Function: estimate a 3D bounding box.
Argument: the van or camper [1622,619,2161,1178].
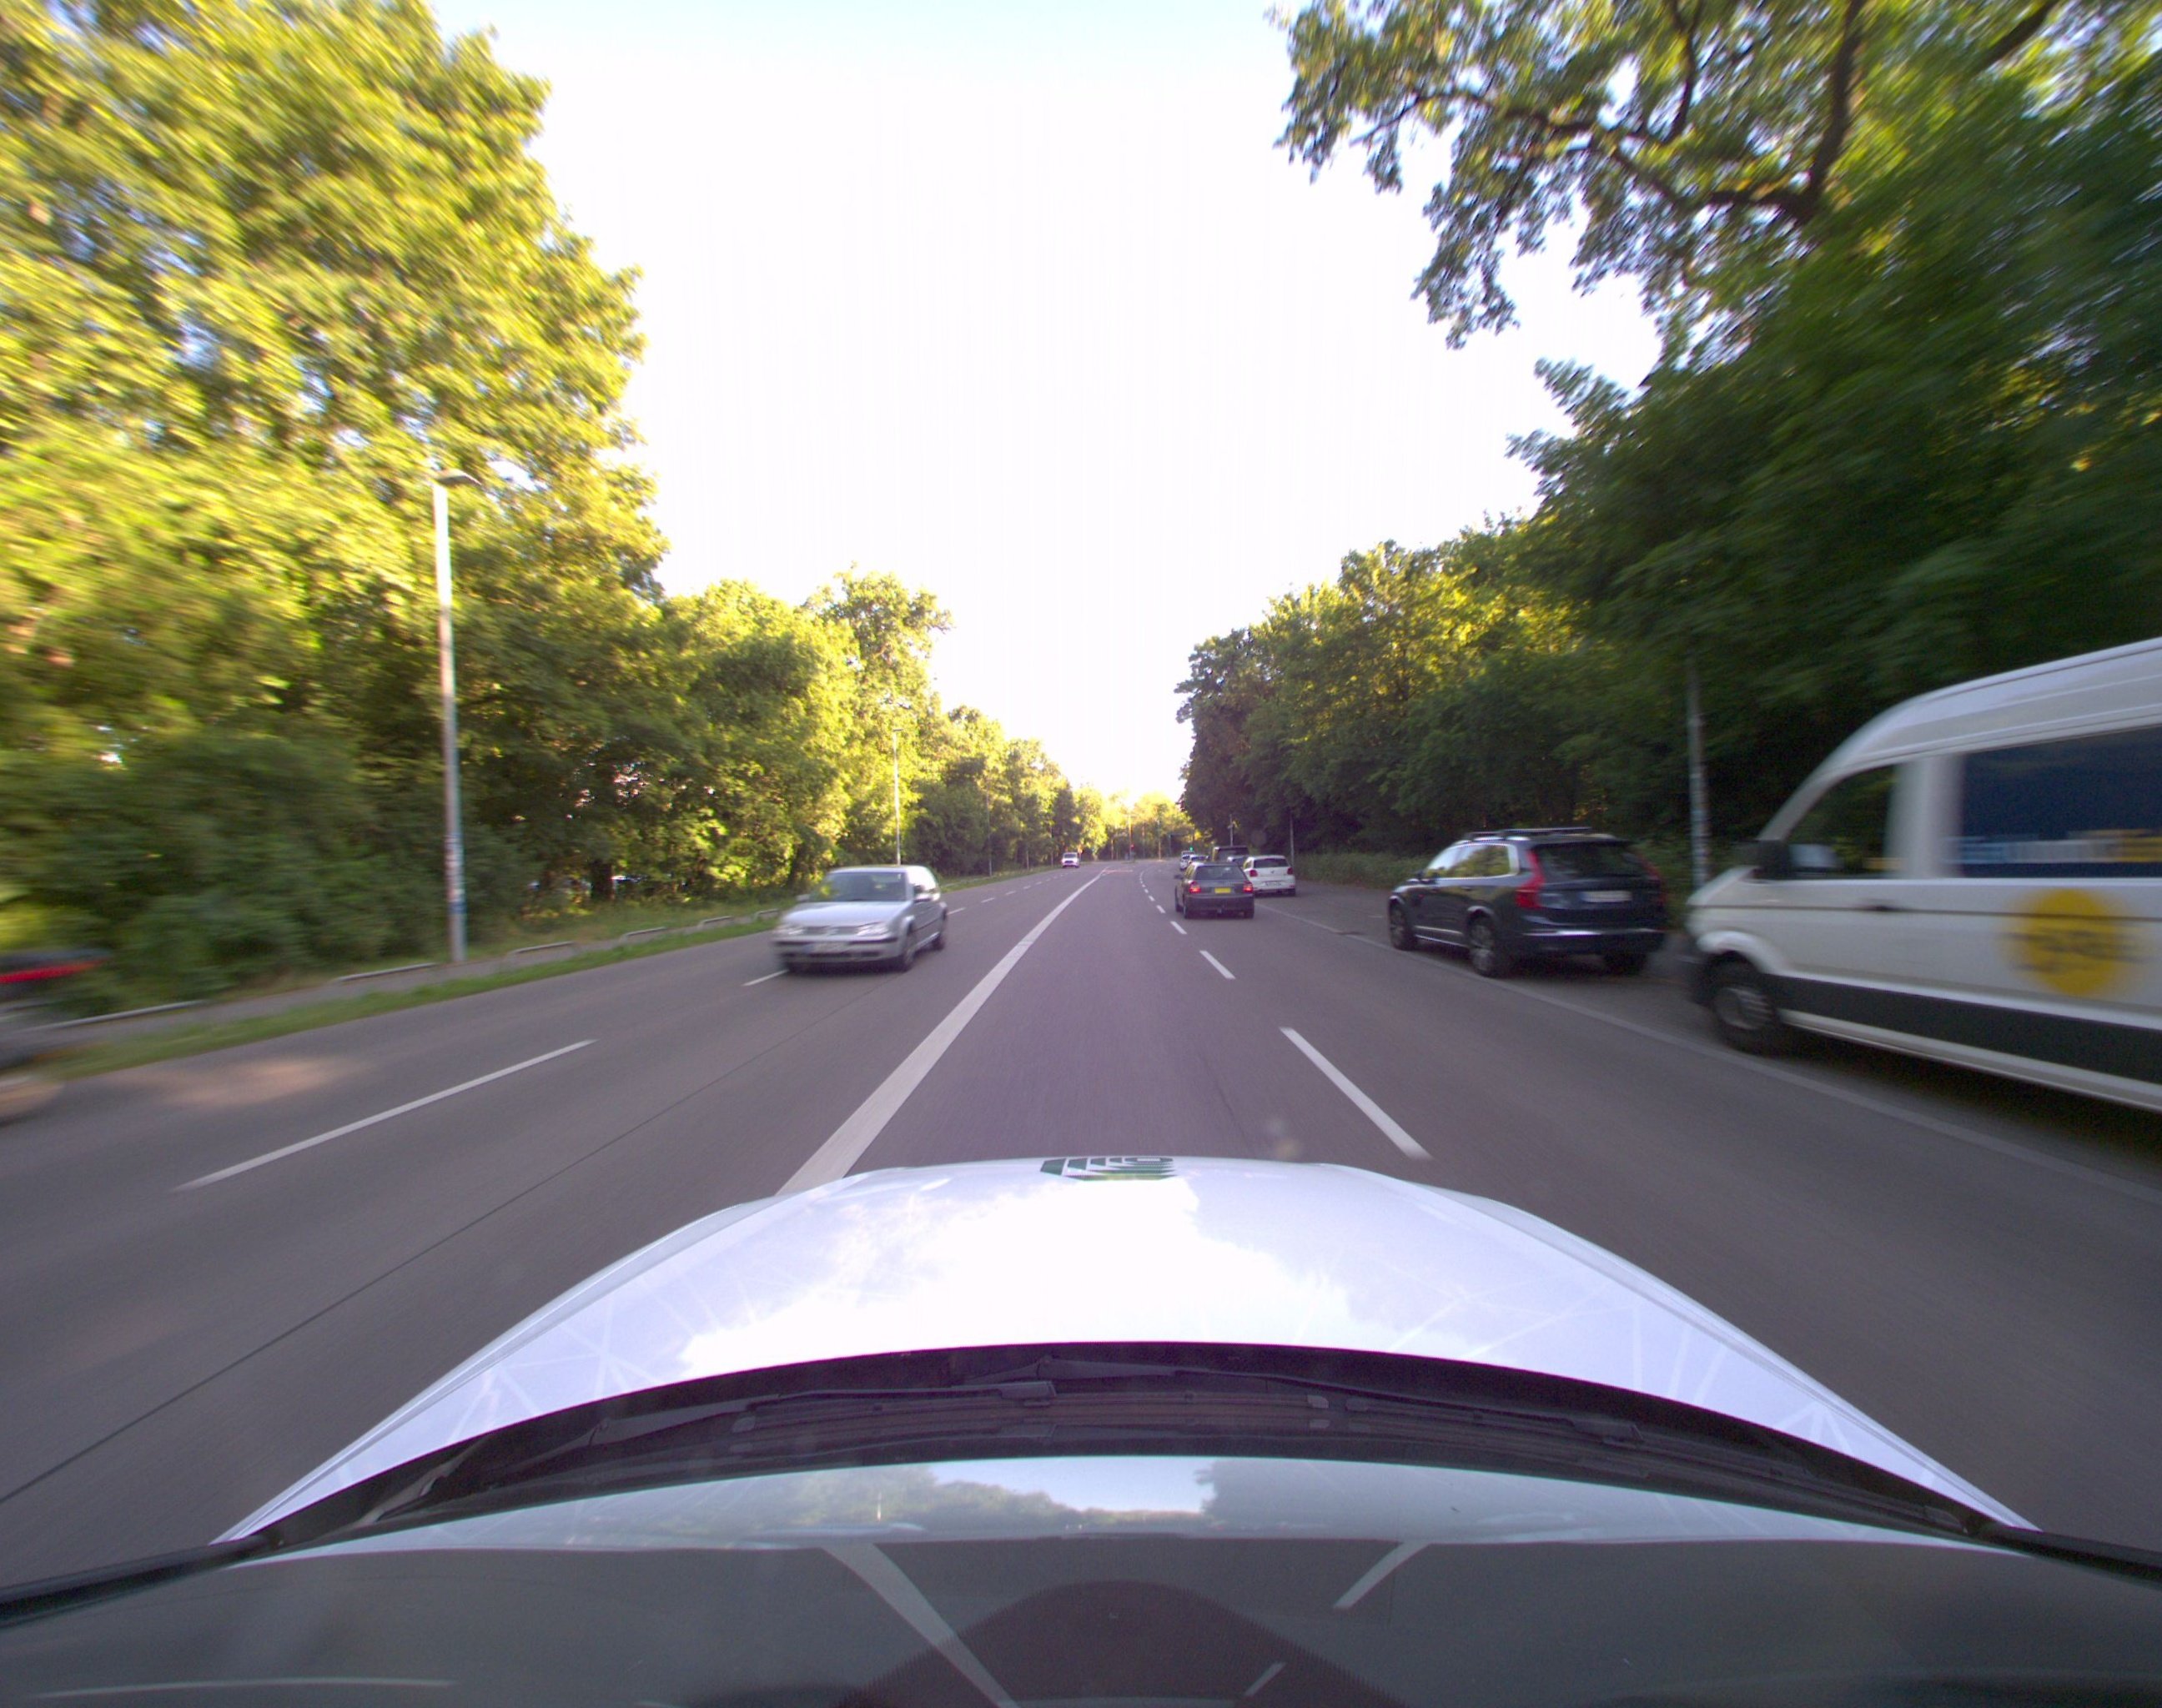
[{"bbox_3d":[5.926,0.173,4.344,2.112,2.517,5.981,-2,0,1],"label":"van or camper"}]

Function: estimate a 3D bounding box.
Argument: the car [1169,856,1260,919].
[{"bbox_3d":[3.350,0.795,21.174,1.722,1.441,4.090,-1,0,1],"label":"car"}]

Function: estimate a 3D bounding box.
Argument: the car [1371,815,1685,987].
[{"bbox_3d":[5.902,0.514,11.657,1.822,1.868,5.076,-2,0,2],"label":"car"}]

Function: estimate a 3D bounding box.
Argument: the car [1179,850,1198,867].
[{"bbox_3d":[10.241,0.421,77.601,1.718,1.522,4.097,-2,0,7],"label":"car"}]

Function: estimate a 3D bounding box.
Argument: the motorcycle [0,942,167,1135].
[{"bbox_3d":[-6.394,1.083,4.350,0.634,0.995,2.077,-1,0,1],"label":"motorcycle"}]

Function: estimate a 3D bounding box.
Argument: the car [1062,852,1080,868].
[{"bbox_3d":[-1.269,0.793,104.098,1.985,1.992,5.000,0,-1,3],"label":"car"}]

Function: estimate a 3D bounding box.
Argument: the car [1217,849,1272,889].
[{"bbox_3d":[6.938,0.610,34.867,1.720,1.544,4.221,-2,0,4],"label":"car"}]

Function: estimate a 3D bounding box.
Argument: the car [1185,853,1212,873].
[{"bbox_3d":[9.048,0.656,62.904,1.719,1.441,4.673,-2,0,5],"label":"car"}]

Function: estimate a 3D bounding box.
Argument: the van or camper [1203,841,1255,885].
[{"bbox_3d":[7.312,0.431,40.750,1.884,1.948,5.139,-4,0,4],"label":"van or camper"}]

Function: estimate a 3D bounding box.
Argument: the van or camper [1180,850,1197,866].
[{"bbox_3d":[13.190,0.482,100.126,1.823,1.970,5.351,-1,0,6],"label":"van or camper"}]

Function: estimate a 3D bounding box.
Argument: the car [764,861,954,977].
[{"bbox_3d":[-3.078,0.833,12.112,1.675,1.407,3.891,0,0,1],"label":"car"}]

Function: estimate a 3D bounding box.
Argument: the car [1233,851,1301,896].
[{"bbox_3d":[6.685,0.657,29.646,1.720,1.441,4.104,-2,0,4],"label":"car"}]

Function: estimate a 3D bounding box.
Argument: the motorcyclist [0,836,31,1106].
[{"bbox_3d":[-6.403,0.657,4.338,0.722,1.505,0.672,-1,-1,1],"label":"motorcyclist"}]
